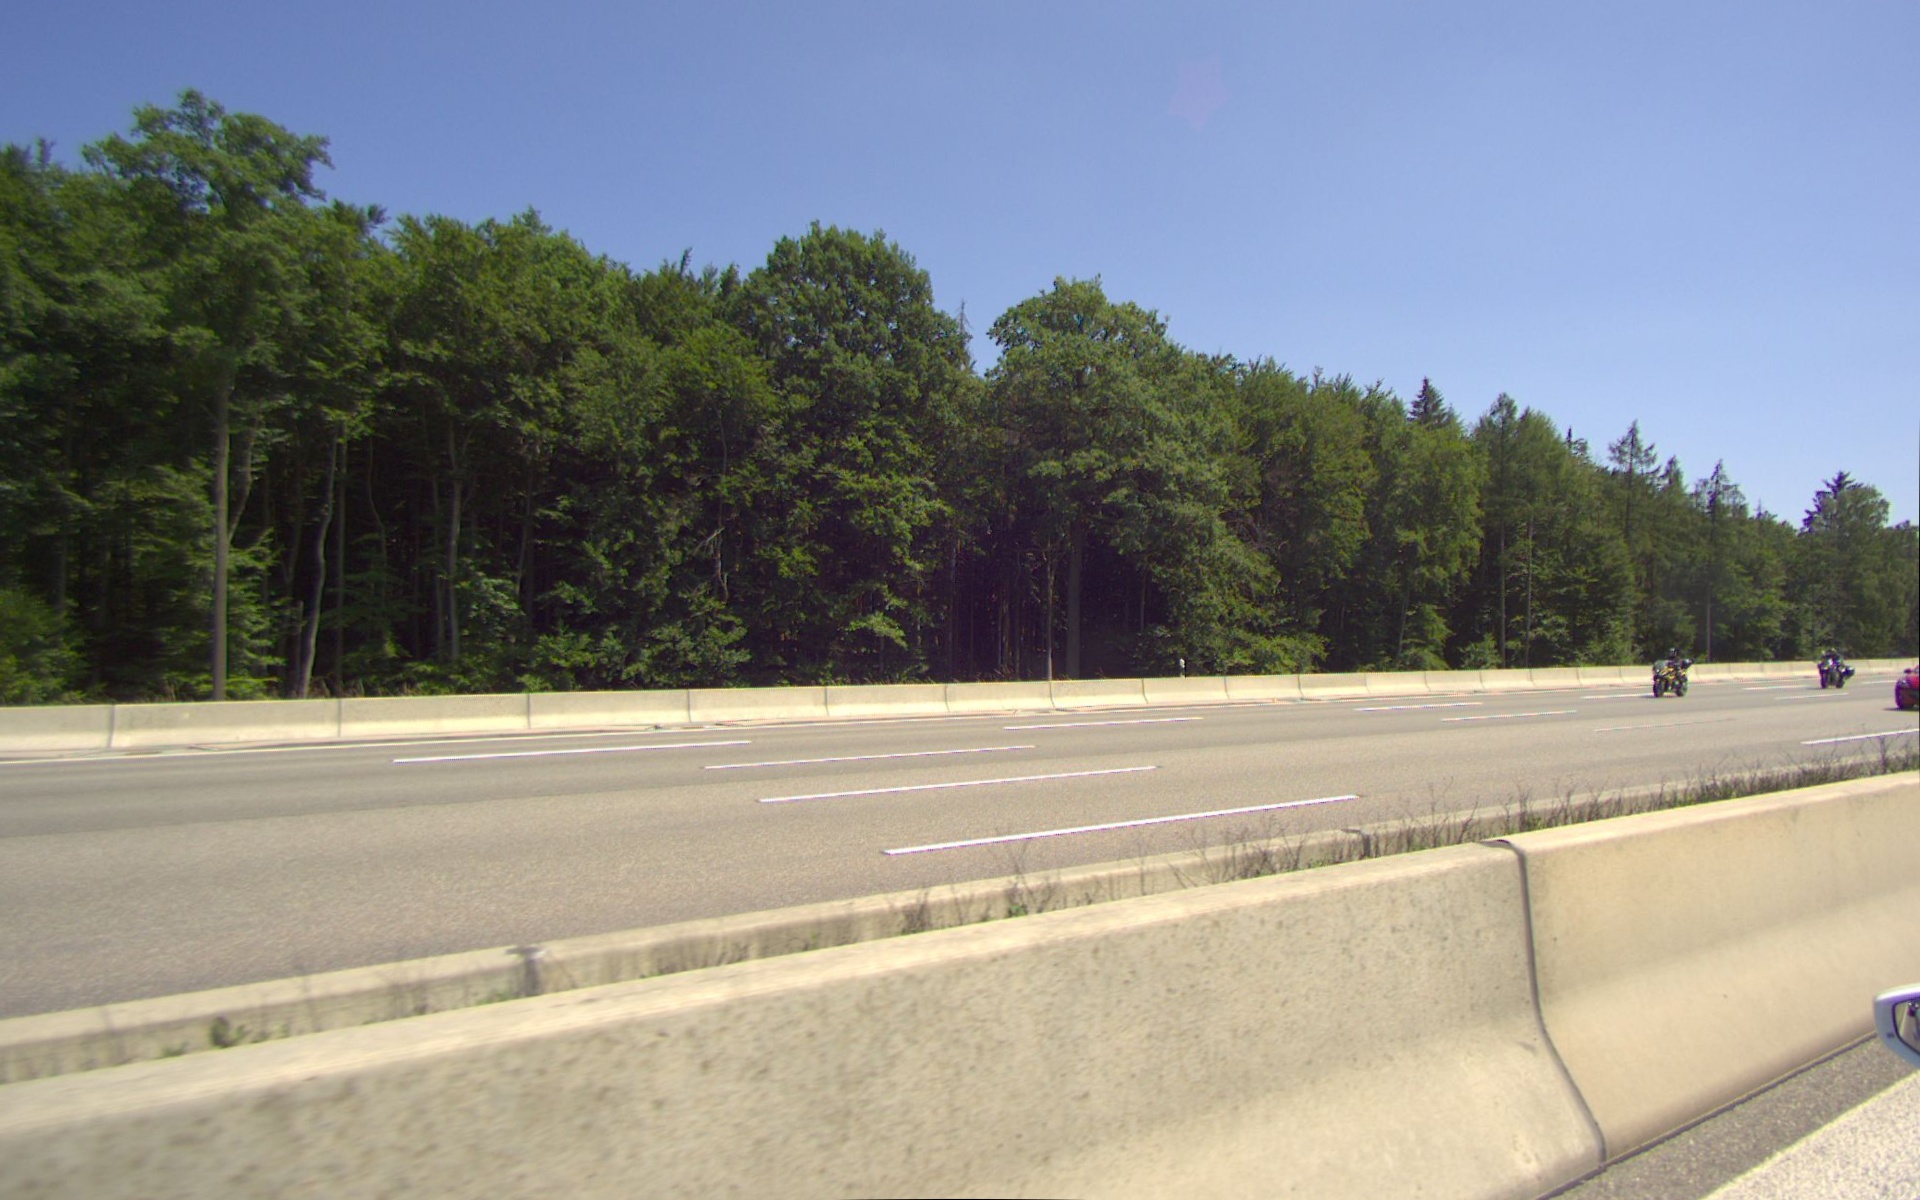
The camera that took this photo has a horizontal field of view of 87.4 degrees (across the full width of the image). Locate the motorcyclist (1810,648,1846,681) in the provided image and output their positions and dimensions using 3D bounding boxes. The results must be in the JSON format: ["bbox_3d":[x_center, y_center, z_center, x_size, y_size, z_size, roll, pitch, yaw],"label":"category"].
[{"bbox_3d":[34.894,2.574,40.395,1.065,1.318,0.757,1,-3,-30],"label":"motorcyclist"}]

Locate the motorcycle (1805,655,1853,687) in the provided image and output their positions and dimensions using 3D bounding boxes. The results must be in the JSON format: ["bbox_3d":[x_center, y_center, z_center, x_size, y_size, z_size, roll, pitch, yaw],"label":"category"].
[{"bbox_3d":[34.979,2.837,40.430,2.322,1.230,0.734,2,-3,-31],"label":"motorcycle"}]

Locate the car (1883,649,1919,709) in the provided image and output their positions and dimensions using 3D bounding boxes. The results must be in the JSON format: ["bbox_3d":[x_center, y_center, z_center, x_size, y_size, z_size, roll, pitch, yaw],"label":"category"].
[{"bbox_3d":[26.448,2.083,26.739,3.981,1.531,1.566,1,-3,-29],"label":"car"}]

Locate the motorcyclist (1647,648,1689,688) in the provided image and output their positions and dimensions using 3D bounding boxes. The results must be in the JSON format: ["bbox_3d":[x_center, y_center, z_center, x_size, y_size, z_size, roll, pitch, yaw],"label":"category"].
[{"bbox_3d":[24.224,2.321,34.361,1.065,1.318,0.765,2,-3,-30],"label":"motorcyclist"}]

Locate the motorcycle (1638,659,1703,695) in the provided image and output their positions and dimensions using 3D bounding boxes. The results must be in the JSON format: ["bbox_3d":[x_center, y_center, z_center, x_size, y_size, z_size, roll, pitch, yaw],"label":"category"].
[{"bbox_3d":[24.379,2.613,34.446,2.724,1.156,0.774,1,-3,-31],"label":"motorcycle"}]
